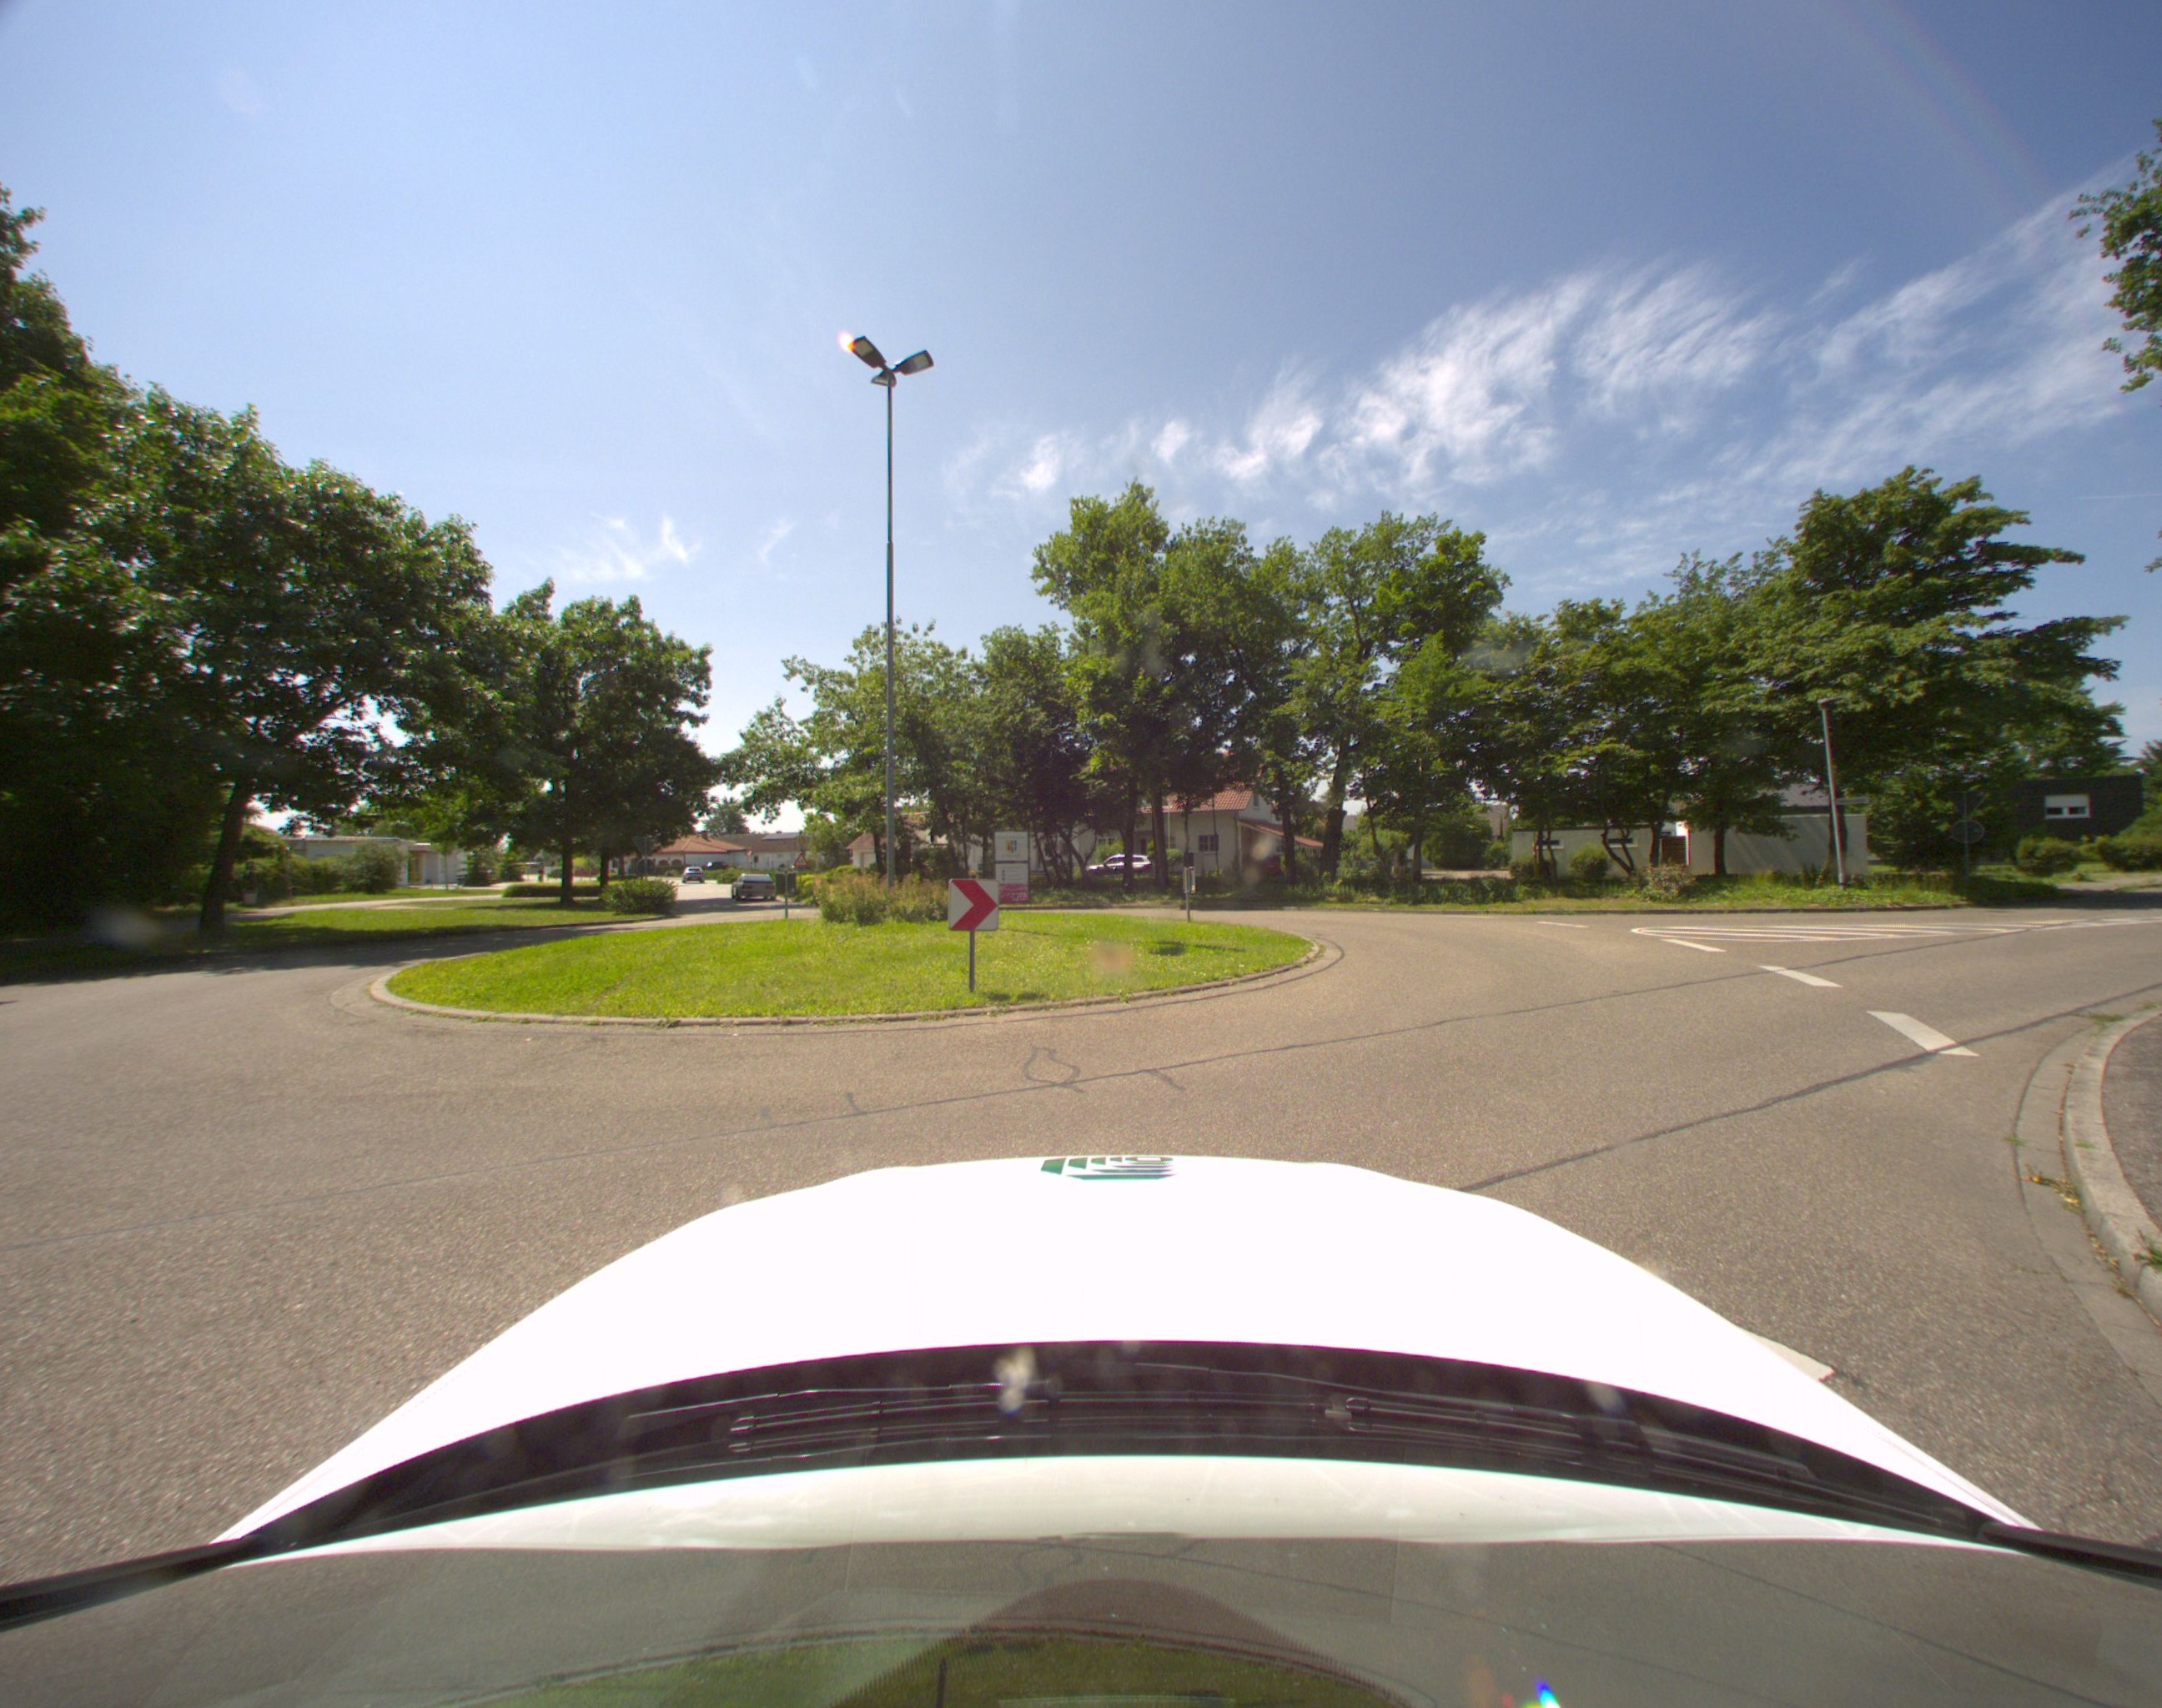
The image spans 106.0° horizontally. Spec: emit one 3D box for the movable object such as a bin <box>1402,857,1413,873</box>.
[{"bbox_3d":[23.260,0.773,57.997,0.651,1.112,0.460,-2,-1,26],"label":"movable object such as a bin"}]

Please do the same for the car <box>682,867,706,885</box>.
[{"bbox_3d":[-34.790,1.958,73.240,1.638,1.486,3.961,-1,0,-30],"label":"car"}]

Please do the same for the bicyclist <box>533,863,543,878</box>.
[{"bbox_3d":[-44.668,1.355,66.981,0.601,1.164,0.642,-1,-1,-31],"label":"bicyclist"}]

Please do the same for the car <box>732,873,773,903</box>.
[{"bbox_3d":[-15.609,1.572,38.633,1.622,1.288,3.527,-1,-1,-25],"label":"car"}]

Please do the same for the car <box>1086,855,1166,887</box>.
[{"bbox_3d":[2.499,0.956,45.639,4.091,1.705,1.676,-1,-1,26],"label":"car"}]

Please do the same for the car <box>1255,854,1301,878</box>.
[{"bbox_3d":[11.997,0.704,49.412,1.663,1.385,3.717,-1,0,30],"label":"car"}]

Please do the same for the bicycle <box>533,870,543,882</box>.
[{"bbox_3d":[-44.616,1.803,66.906,0.601,0.929,1.604,-1,-1,-31],"label":"bicycle"}]

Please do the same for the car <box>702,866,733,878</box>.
[{"bbox_3d":[-50.049,2.424,112.167,1.834,1.542,3.853,-1,-1,17],"label":"car"}]

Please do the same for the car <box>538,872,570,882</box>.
[{"bbox_3d":[-69.968,3.094,108.087,3.949,1.288,2.012,-1,-1,30],"label":"car"}]
